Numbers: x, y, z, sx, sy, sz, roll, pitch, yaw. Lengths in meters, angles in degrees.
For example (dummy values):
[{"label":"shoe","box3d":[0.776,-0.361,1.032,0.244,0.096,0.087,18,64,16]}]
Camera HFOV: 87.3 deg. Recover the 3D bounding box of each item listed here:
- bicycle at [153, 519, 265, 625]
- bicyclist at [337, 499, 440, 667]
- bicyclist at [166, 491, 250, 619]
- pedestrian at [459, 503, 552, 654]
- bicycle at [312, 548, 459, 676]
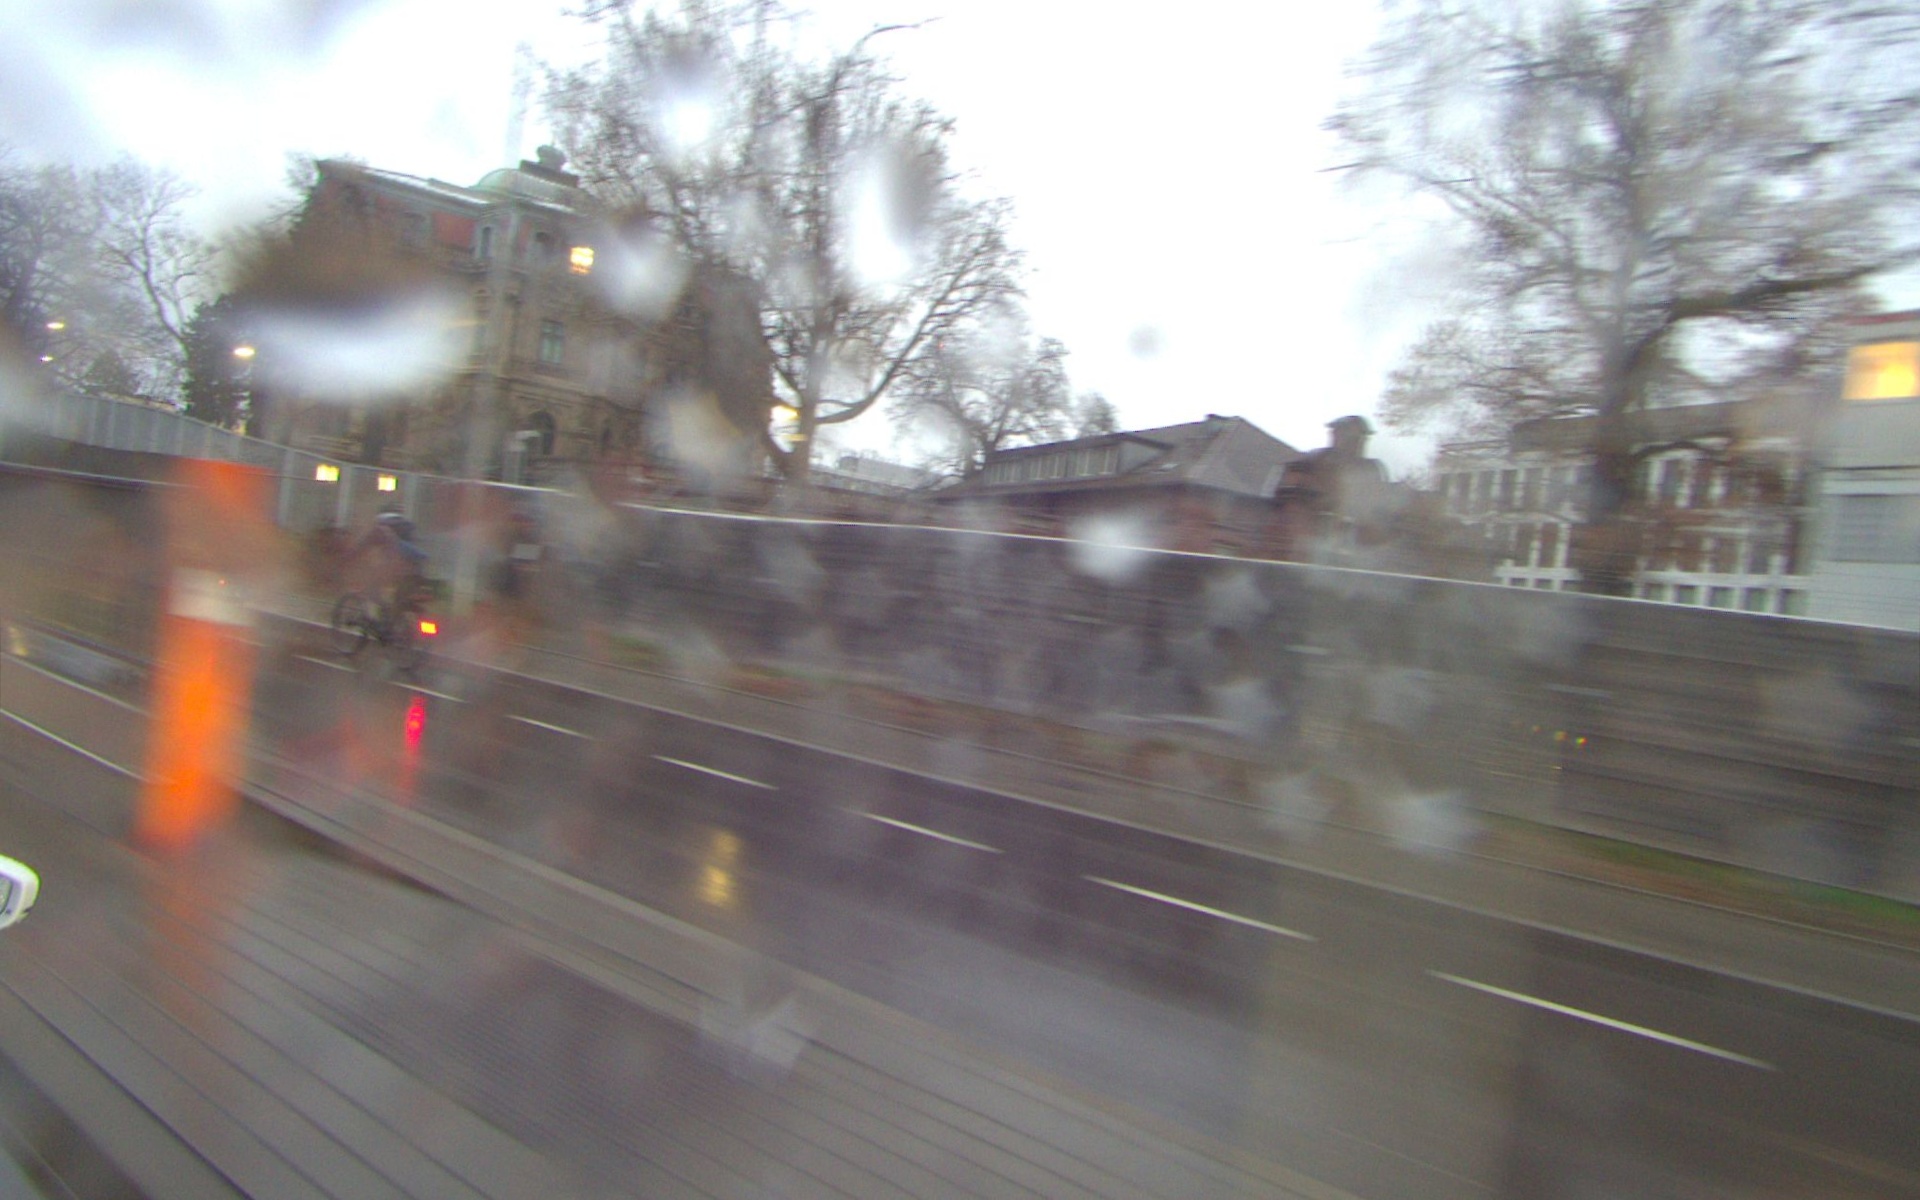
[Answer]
[{"label":"bicycle","box3d":[-10.245,-0.397,13.699,1.915,1.200,0.412,8,1,30]},{"label":"bicyclist","box3d":[-6.511,-0.190,11.465,0.823,1.789,0.500,8,1,30]},{"label":"bicyclist","box3d":[-10.258,-0.613,13.717,0.823,1.611,0.500,8,1,30]},{"label":"pedestrian","box3d":[-6.110,-0.290,13.523,0.885,1.903,0.532,8,2,30]},{"label":"bicycle","box3d":[-6.617,0.114,11.544,1.994,1.200,0.412,8,1,30]}]
